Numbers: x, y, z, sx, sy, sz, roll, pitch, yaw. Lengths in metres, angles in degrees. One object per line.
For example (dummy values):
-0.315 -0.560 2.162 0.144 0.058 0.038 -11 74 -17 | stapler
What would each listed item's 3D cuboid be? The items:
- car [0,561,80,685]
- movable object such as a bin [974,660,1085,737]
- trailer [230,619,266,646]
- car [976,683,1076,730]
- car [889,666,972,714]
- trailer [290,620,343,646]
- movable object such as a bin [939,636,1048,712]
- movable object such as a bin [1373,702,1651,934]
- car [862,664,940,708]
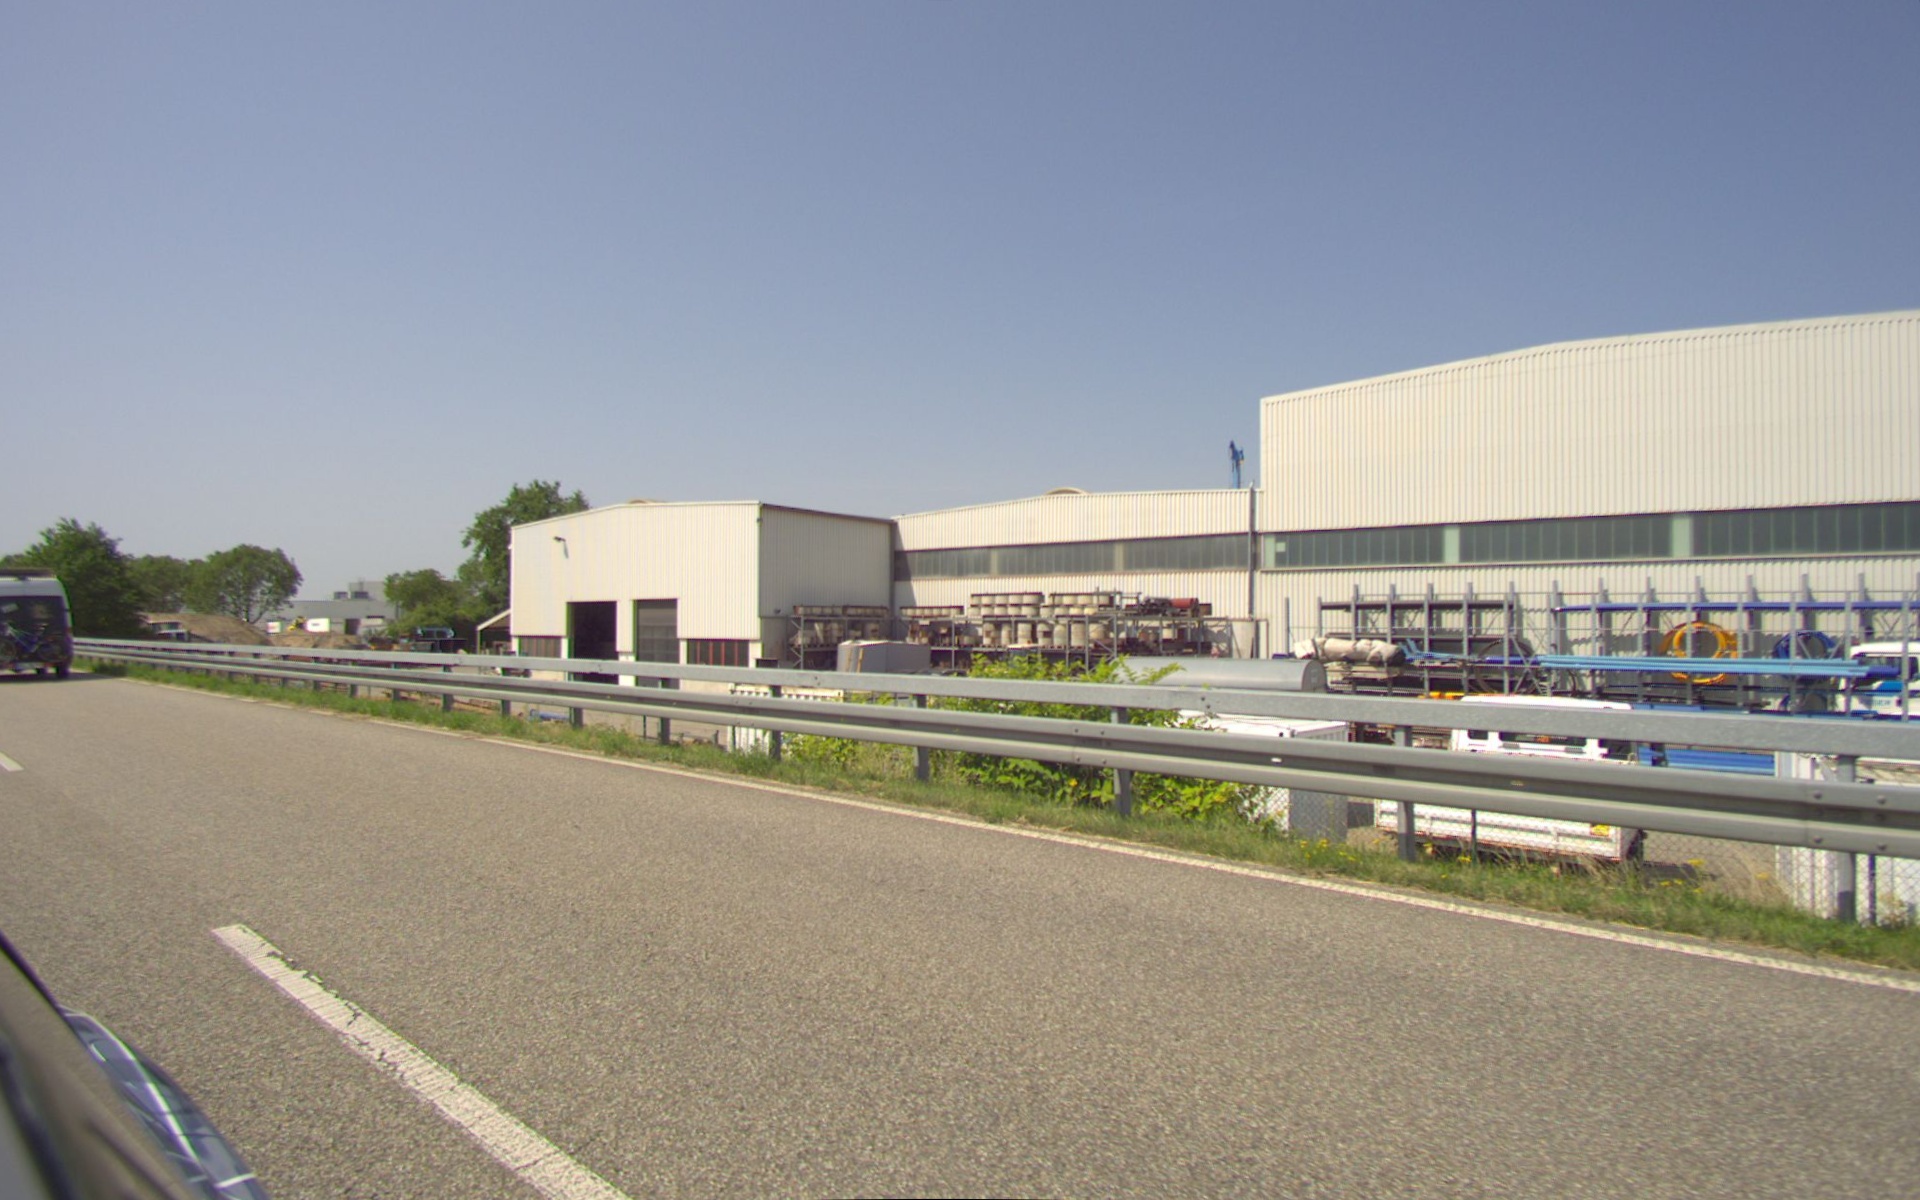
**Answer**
-25.274 0.603 26.786 6.726 2.984 2.058 -1 0 41 | car
2.285 3.049 32.293 1.847 2.029 3.830 -1 0 34 | movable object such as a bin
-116.760 5.383 166.021 7.529 4.251 2.827 -3 -2 39 | trailer
2.404 3.754 36.097 1.721 1.532 3.952 -1 -5 35 | car
-1.131 3.554 40.164 1.673 1.787 3.101 -2 -5 38 | car
-113.333 5.871 178.037 15.558 4.293 2.671 -3 -2 37 | trailer
1.377 2.908 39.128 2.127 2.701 4.506 -1 -6 33 | movable object such as a bin
7.331 2.441 13.037 2.444 2.034 5.843 -2 -4 35 | movable object such as a bin
-2.411 3.594 42.121 1.464 1.687 3.224 -1 -6 36 | car
